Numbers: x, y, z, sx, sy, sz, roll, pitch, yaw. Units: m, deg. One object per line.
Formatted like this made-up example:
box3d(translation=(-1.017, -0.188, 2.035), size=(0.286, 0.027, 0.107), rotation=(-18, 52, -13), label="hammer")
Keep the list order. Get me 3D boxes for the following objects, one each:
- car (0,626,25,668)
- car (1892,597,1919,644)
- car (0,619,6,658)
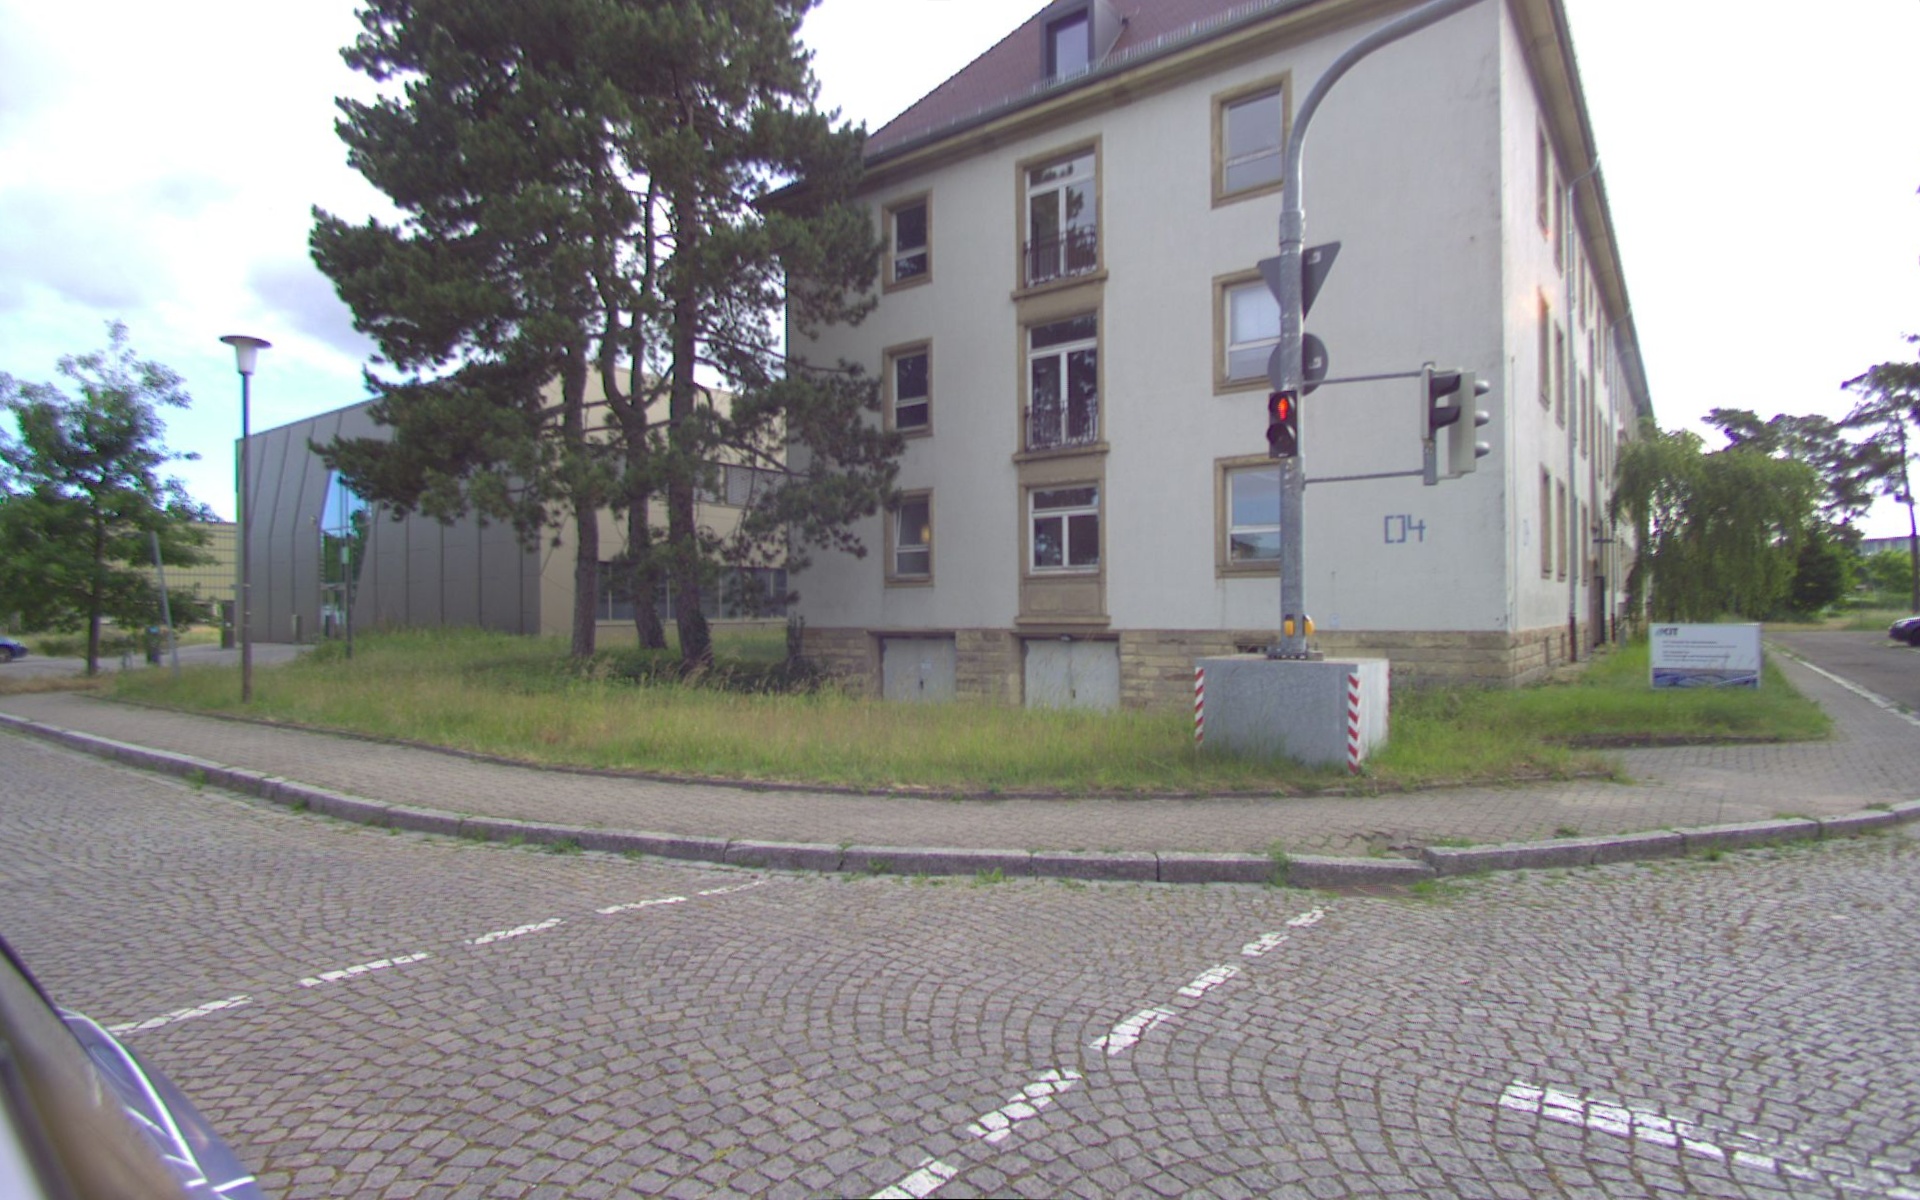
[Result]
box3d(translation=(-35.981, 1.783, 35.502), size=(1.833, 1.474, 4.368), rotation=(-1, 2, 34), label="car")
box3d(translation=(38.937, 0.768, 38.994), size=(4.074, 1.780, 1.813), rotation=(-1, 1, 29), label="car")
box3d(translation=(-41.406, 1.670, 40.661), size=(1.833, 1.598, 4.148), rotation=(-1, 2, 34), label="car")
